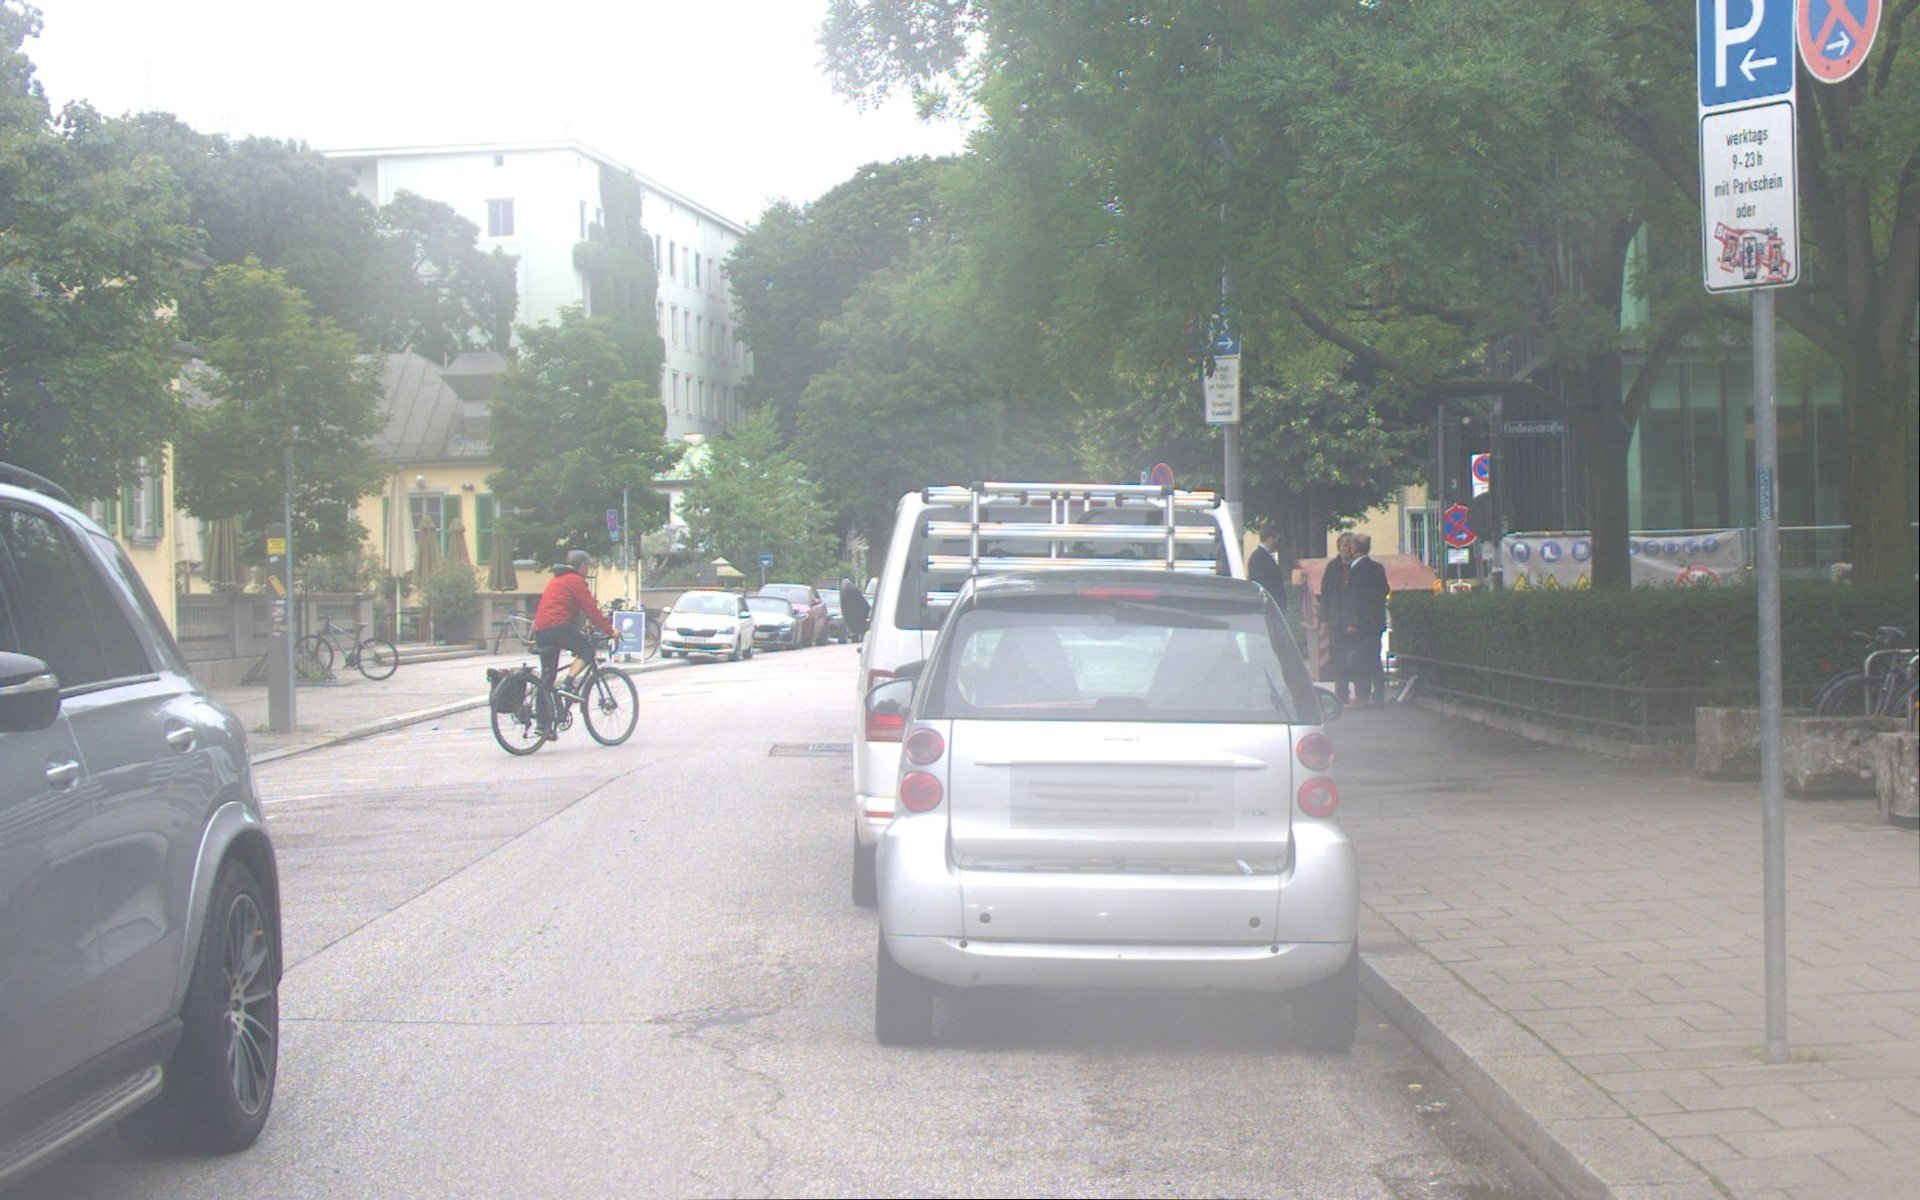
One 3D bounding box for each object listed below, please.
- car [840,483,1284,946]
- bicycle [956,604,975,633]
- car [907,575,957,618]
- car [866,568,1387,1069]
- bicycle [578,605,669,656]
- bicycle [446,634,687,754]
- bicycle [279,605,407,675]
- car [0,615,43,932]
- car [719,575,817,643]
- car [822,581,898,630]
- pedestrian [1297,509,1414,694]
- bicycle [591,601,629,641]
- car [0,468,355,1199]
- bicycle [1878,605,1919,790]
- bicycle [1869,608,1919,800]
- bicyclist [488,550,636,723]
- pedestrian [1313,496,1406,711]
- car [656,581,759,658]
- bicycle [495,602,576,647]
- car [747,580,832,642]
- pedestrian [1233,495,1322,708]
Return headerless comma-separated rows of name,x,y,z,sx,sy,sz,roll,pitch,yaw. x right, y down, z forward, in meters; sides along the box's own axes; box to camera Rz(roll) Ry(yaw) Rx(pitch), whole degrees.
car,0.380,0.472,17.324,1.845,1.926,5.273,2,0,-1
bicycle,0.200,0.663,122.526,0.621,1.001,2.140,-1,0,-1
car,-1.141,-0.151,141.943,1.810,1.677,4.000,-1,1,2
car,0.521,0.673,12.224,1.605,1.541,2.934,1,0,0
bicycle,-6.897,0.616,70.609,0.623,1.001,2.136,2,1,33
bicycle,-3.465,0.819,30.411,2.134,1.001,0.623,0,-1,-42
bicycle,-9.997,0.639,55.742,1.931,1.095,0.615,1,0,3
car,-5.294,0.835,13.908,1.922,1.434,4.918,-3,0,-2
car,-4.865,0.205,87.695,1.994,1.643,4.655,-1,0,3
car,-3.190,0.174,110.616,1.994,1.481,3.999,-1,1,4
pedestrian,4.146,0.013,36.043,0.744,1.901,1.054,-2,0,36
bicycle,-8.839,0.532,86.861,0.621,1.001,1.618,-1,-1,6
car,-2.777,0.618,7.303,2.025,1.683,4.677,-2,0,1
bicycle,6.688,0.558,21.102,1.931,1.110,0.471,-2,0,2
bicycle,6.423,0.577,20.313,1.931,1.110,0.471,-2,0,2
bicyclist,-3.516,0.325,30.384,1.092,1.492,0.673,0,-2,-42
pedestrian,4.039,0.031,34.831,0.742,2.127,1.056,-2,0,-1
car,-5.493,0.408,75.110,1.734,1.576,3.787,2,0,3
bicycle,-9.238,0.530,74.755,1.613,0.922,0.651,-1,-1,-24
car,-4.580,0.307,92.824,1.993,1.597,4.000,-1,-1,1
pedestrian,3.248,0.015,35.255,0.742,2.127,1.056,-2,0,-1
